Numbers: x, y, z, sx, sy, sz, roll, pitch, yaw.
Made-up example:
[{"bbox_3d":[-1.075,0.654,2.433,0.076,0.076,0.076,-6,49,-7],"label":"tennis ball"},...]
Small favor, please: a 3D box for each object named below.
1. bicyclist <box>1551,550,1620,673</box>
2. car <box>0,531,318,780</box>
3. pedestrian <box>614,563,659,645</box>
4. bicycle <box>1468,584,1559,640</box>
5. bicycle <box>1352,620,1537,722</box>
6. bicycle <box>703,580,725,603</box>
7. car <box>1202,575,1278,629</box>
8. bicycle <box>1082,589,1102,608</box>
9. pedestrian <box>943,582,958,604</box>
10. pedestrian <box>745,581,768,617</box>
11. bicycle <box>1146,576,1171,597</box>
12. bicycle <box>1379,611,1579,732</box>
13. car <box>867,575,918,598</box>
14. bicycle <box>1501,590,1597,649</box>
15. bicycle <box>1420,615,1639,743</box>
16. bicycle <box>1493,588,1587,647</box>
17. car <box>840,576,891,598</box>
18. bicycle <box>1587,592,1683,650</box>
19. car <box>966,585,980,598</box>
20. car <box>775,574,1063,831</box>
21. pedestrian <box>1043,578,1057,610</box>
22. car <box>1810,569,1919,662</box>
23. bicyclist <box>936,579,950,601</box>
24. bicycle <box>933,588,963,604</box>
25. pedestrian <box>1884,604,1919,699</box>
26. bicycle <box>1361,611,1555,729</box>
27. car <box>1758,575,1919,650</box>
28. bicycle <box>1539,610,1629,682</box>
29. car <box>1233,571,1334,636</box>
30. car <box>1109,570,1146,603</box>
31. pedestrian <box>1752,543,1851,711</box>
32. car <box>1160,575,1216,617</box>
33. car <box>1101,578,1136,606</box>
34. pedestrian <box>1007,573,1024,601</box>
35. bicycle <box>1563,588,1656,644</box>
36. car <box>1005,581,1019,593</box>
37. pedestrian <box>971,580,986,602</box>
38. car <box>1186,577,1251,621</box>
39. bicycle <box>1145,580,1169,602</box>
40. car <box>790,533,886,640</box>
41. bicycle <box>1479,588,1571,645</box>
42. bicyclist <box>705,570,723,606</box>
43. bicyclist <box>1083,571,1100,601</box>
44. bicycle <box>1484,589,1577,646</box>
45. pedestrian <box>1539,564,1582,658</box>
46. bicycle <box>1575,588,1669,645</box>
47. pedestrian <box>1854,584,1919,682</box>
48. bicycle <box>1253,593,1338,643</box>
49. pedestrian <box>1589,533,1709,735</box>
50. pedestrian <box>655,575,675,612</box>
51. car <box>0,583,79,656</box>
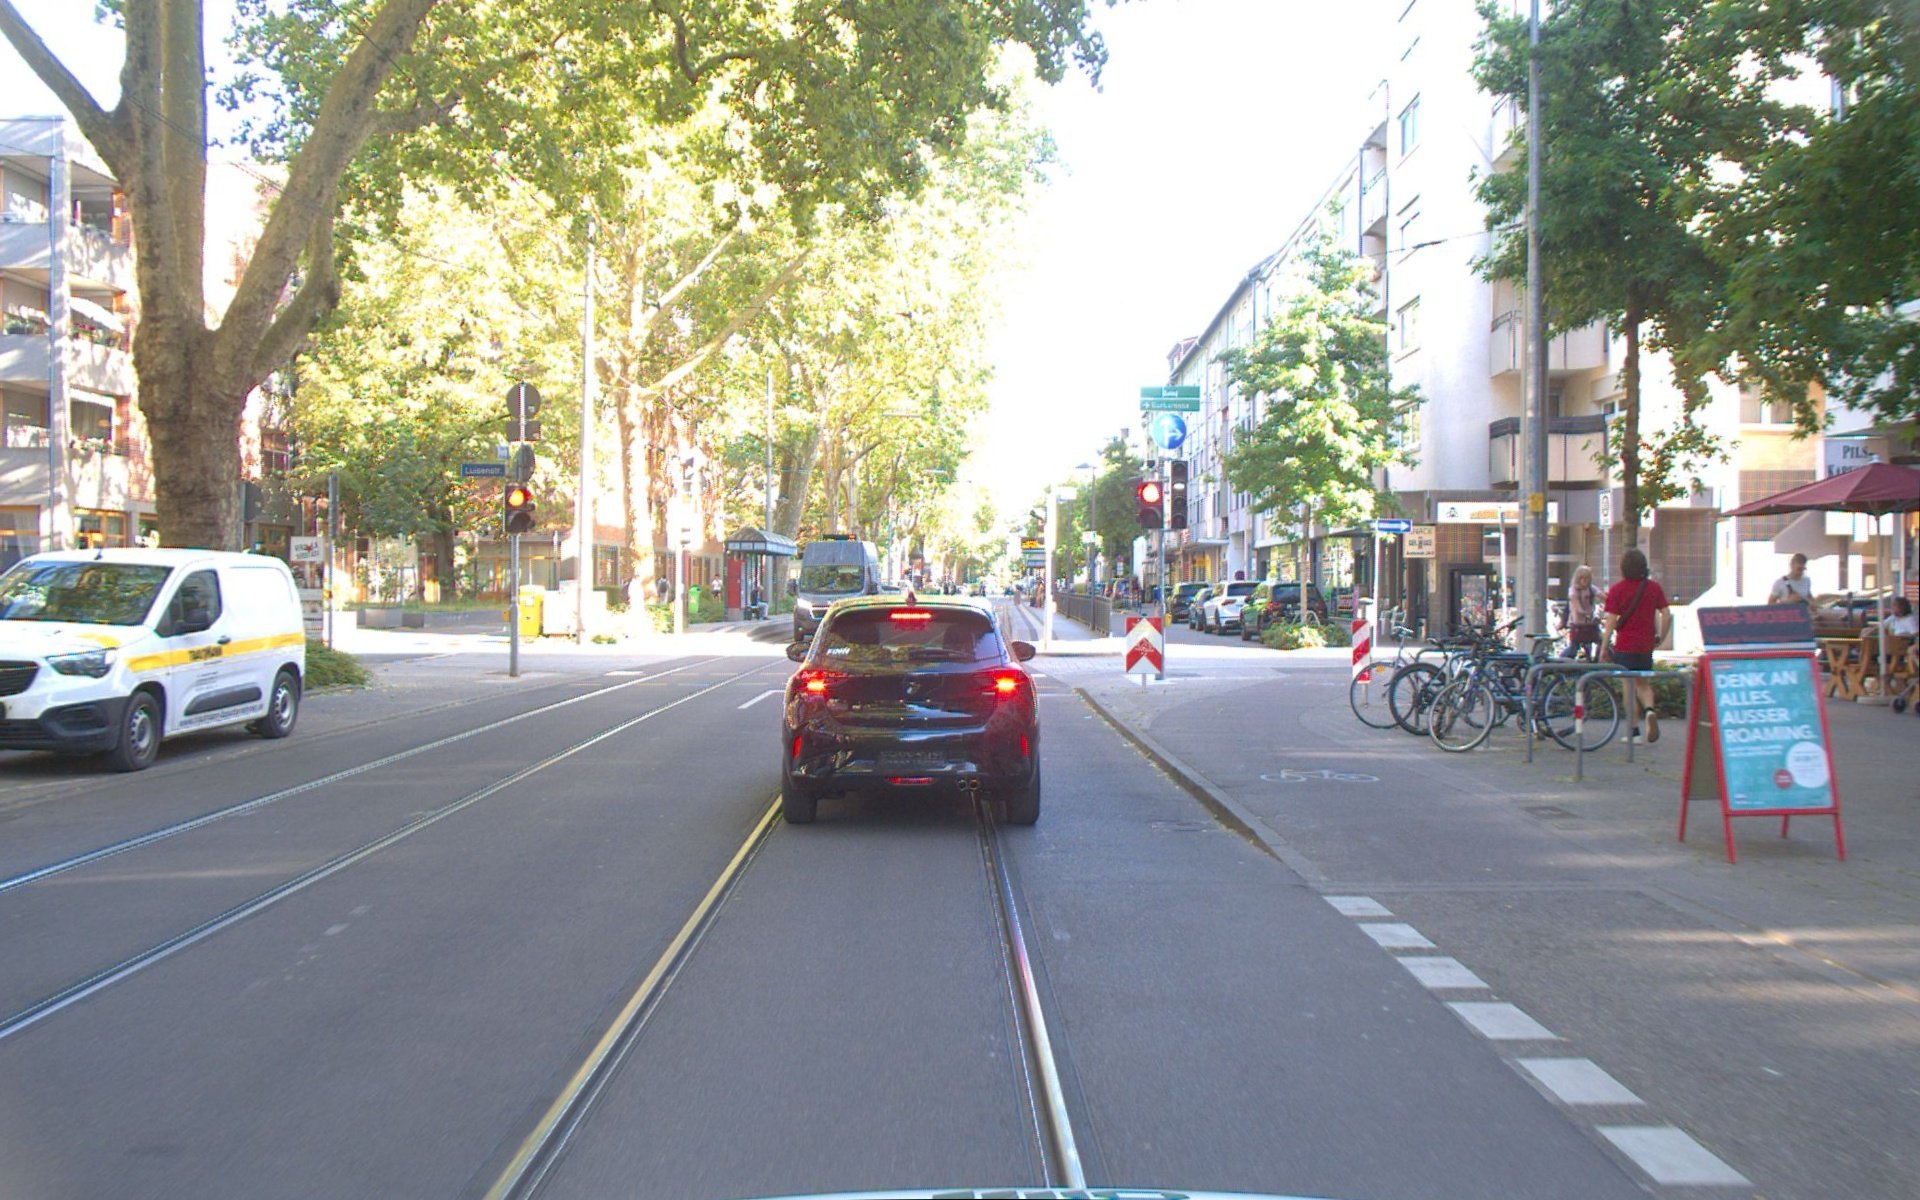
[{"bbox_3d":[9.107,0.166,24.113,0.663,1.747,0.965,1,0,3],"label":"bicyclist"},{"bbox_3d":[-7.408,0.410,14.705,1.727,1.883,4.318,1,0,-1],"label":"car"},{"bbox_3d":[-7.576,0.080,38.757,0.905,1.867,0.920,1,2,-3],"label":"pedestrian"},{"bbox_3d":[12.518,0.266,37.411,1.875,1.229,0.511,1,0,-3],"label":"bicycle"},{"bbox_3d":[5.023,0.734,17.181,1.778,1.011,0.481,1,0,-1],"label":"bicycle"},{"bbox_3d":[-12.373,-0.404,83.197,0.766,1.130,2.595,1,0,-1],"label":"bicycle"},{"bbox_3d":[8.808,0.052,52.401,1.762,1.634,4.416,1,0,2],"label":"car"},{"bbox_3d":[8.061,-0.100,101.196,0.844,1.155,2.394,1,0,-5],"label":"bicycle"},{"bbox_3d":[-0.781,-0.605,135.576,1.141,1.779,0.957,1,0,-4],"label":"pedestrian"},{"bbox_3d":[-6.934,-0.032,56.467,0.691,1.189,0.659,-1,0,-2],"label":"pedestrian"},{"bbox_3d":[11.339,-0.748,94.529,0.600,1.155,2.915,1,0,-9],"label":"bicycle"},{"bbox_3d":[4.955,0.678,15.812,1.781,1.119,0.480,1,0,-7],"label":"bicycle"},{"bbox_3d":[-5.933,-1.172,144.391,4.300,1.884,1.998,1,0,-6],"label":"car"},{"bbox_3d":[12.528,0.409,35.205,1.875,1.228,0.511,-1,1,-3],"label":"bicycle"},{"bbox_3d":[5.075,0.695,14.784,1.778,1.119,0.525,0,0,0],"label":"bicycle"},{"bbox_3d":[12.520,0.380,35.721,1.875,1.228,0.511,-1,1,-3],"label":"bicycle"},{"bbox_3d":[-7.605,-1.058,132.826,4.034,1.730,1.881,1,0,-6],"label":"car"},{"bbox_3d":[14.617,0.449,35.850,1.875,1.228,0.511,0,1,-3],"label":"bicycle"},{"bbox_3d":[1.684,-1.030,209.310,1.709,1.571,4.000,1,0,0],"label":"car"},{"bbox_3d":[-0.268,0.610,11.804,1.724,1.534,3.682,0,0,-1],"label":"car"},{"bbox_3d":[4.468,-0.305,82.442,0.618,1.603,0.871,2,1,1],"label":"pedestrian"},{"bbox_3d":[17.972,0.309,29.981,4.165,1.620,1.965,1,-1,-5],"label":"car"},{"bbox_3d":[-1.431,-0.820,138.921,1.141,1.779,0.957,1,0,-4],"label":"bicyclist"},{"bbox_3d":[-1.032,-0.354,138.957,2.431,1.262,0.957,1,0,-4],"label":"bicycle"},{"bbox_3d":[11.319,0.601,19.431,0.629,1.097,0.522,1,0,-1],"label":"pedestrian"},{"bbox_3d":[4.913,0.688,16.354,1.781,1.119,0.497,1,0,-7],"label":"bicycle"},{"bbox_3d":[19.819,0.245,35.484,4.489,1.503,1.872,0,3,2],"label":"car"},{"bbox_3d":[9.098,0.654,24.189,0.663,0.980,2.023,1,0,3],"label":"bicycle"},{"bbox_3d":[8.745,0.086,45.074,1.952,1.644,4.446,-1,0,2],"label":"car"},{"bbox_3d":[10.399,-0.800,102.797,1.952,1.986,4.000,1,0,1],"label":"car"},{"bbox_3d":[9.374,0.291,18.456,0.578,1.815,0.995,1,0,0],"label":"pedestrian"},{"bbox_3d":[9.397,-0.178,68.406,1.818,1.644,4.398,1,0,2],"label":"car"},{"bbox_3d":[10.469,-0.513,109.435,1.952,1.829,4.000,1,0,1],"label":"car"},{"bbox_3d":[3.378,-0.791,101.342,0.737,1.739,0.760,1,0,36],"label":"pedestrian"},{"bbox_3d":[14.572,0.366,37.124,1.875,1.229,0.511,1,-1,-3],"label":"bicycle"},{"bbox_3d":[6.846,-1.748,218.344,1.709,1.571,4.000,1,0,0],"label":"car"},{"bbox_3d":[1.487,-0.716,135.796,1.141,1.779,0.957,1,0,-4],"label":"pedestrian"},{"bbox_3d":[9.003,-0.028,57.955,1.708,1.465,4.248,1,0,2],"label":"car"},{"bbox_3d":[10.578,-0.465,88.713,0.610,1.155,2.434,1,0,-9],"label":"bicycle"},{"bbox_3d":[-3.328,-0.359,46.367,2.070,2.786,6.116,-1,0,1],"label":"car"},{"bbox_3d":[12.566,0.372,36.811,1.875,1.228,0.511,-1,1,-3],"label":"bicycle"},{"bbox_3d":[-12.368,-0.621,83.111,0.759,1.780,0.997,1,0,-1],"label":"bicyclist"},{"bbox_3d":[8.058,-0.844,101.422,0.844,1.790,1.052,1,0,-5],"label":"bicyclist"},{"bbox_3d":[12.509,0.376,36.256,1.875,1.228,0.511,0,1,-3],"label":"bicycle"},{"bbox_3d":[10.351,0.188,28.531,0.539,1.589,0.645,1,-1,5],"label":"pedestrian"},{"bbox_3d":[14.591,0.363,36.461,1.875,1.229,0.511,1,0,-3],"label":"bicycle"},{"bbox_3d":[12.610,0.443,22.497,0.524,1.310,0.716,1,0,2],"label":"pedestrian"},{"bbox_3d":[8.501,0.447,42.013,2.081,1.208,0.681,1,0,9],"label":"bicycle"},{"bbox_3d":[6.365,0.299,15.332,0.856,1.789,1.049,1,0,14],"label":"pedestrian"},{"bbox_3d":[-13.739,-0.316,76.983,0.720,1.701,0.861,1,0,1],"label":"pedestrian"},{"bbox_3d":[-21.649,0.386,35.942,3.905,1.534,2.000,1,0,0],"label":"car"}]
